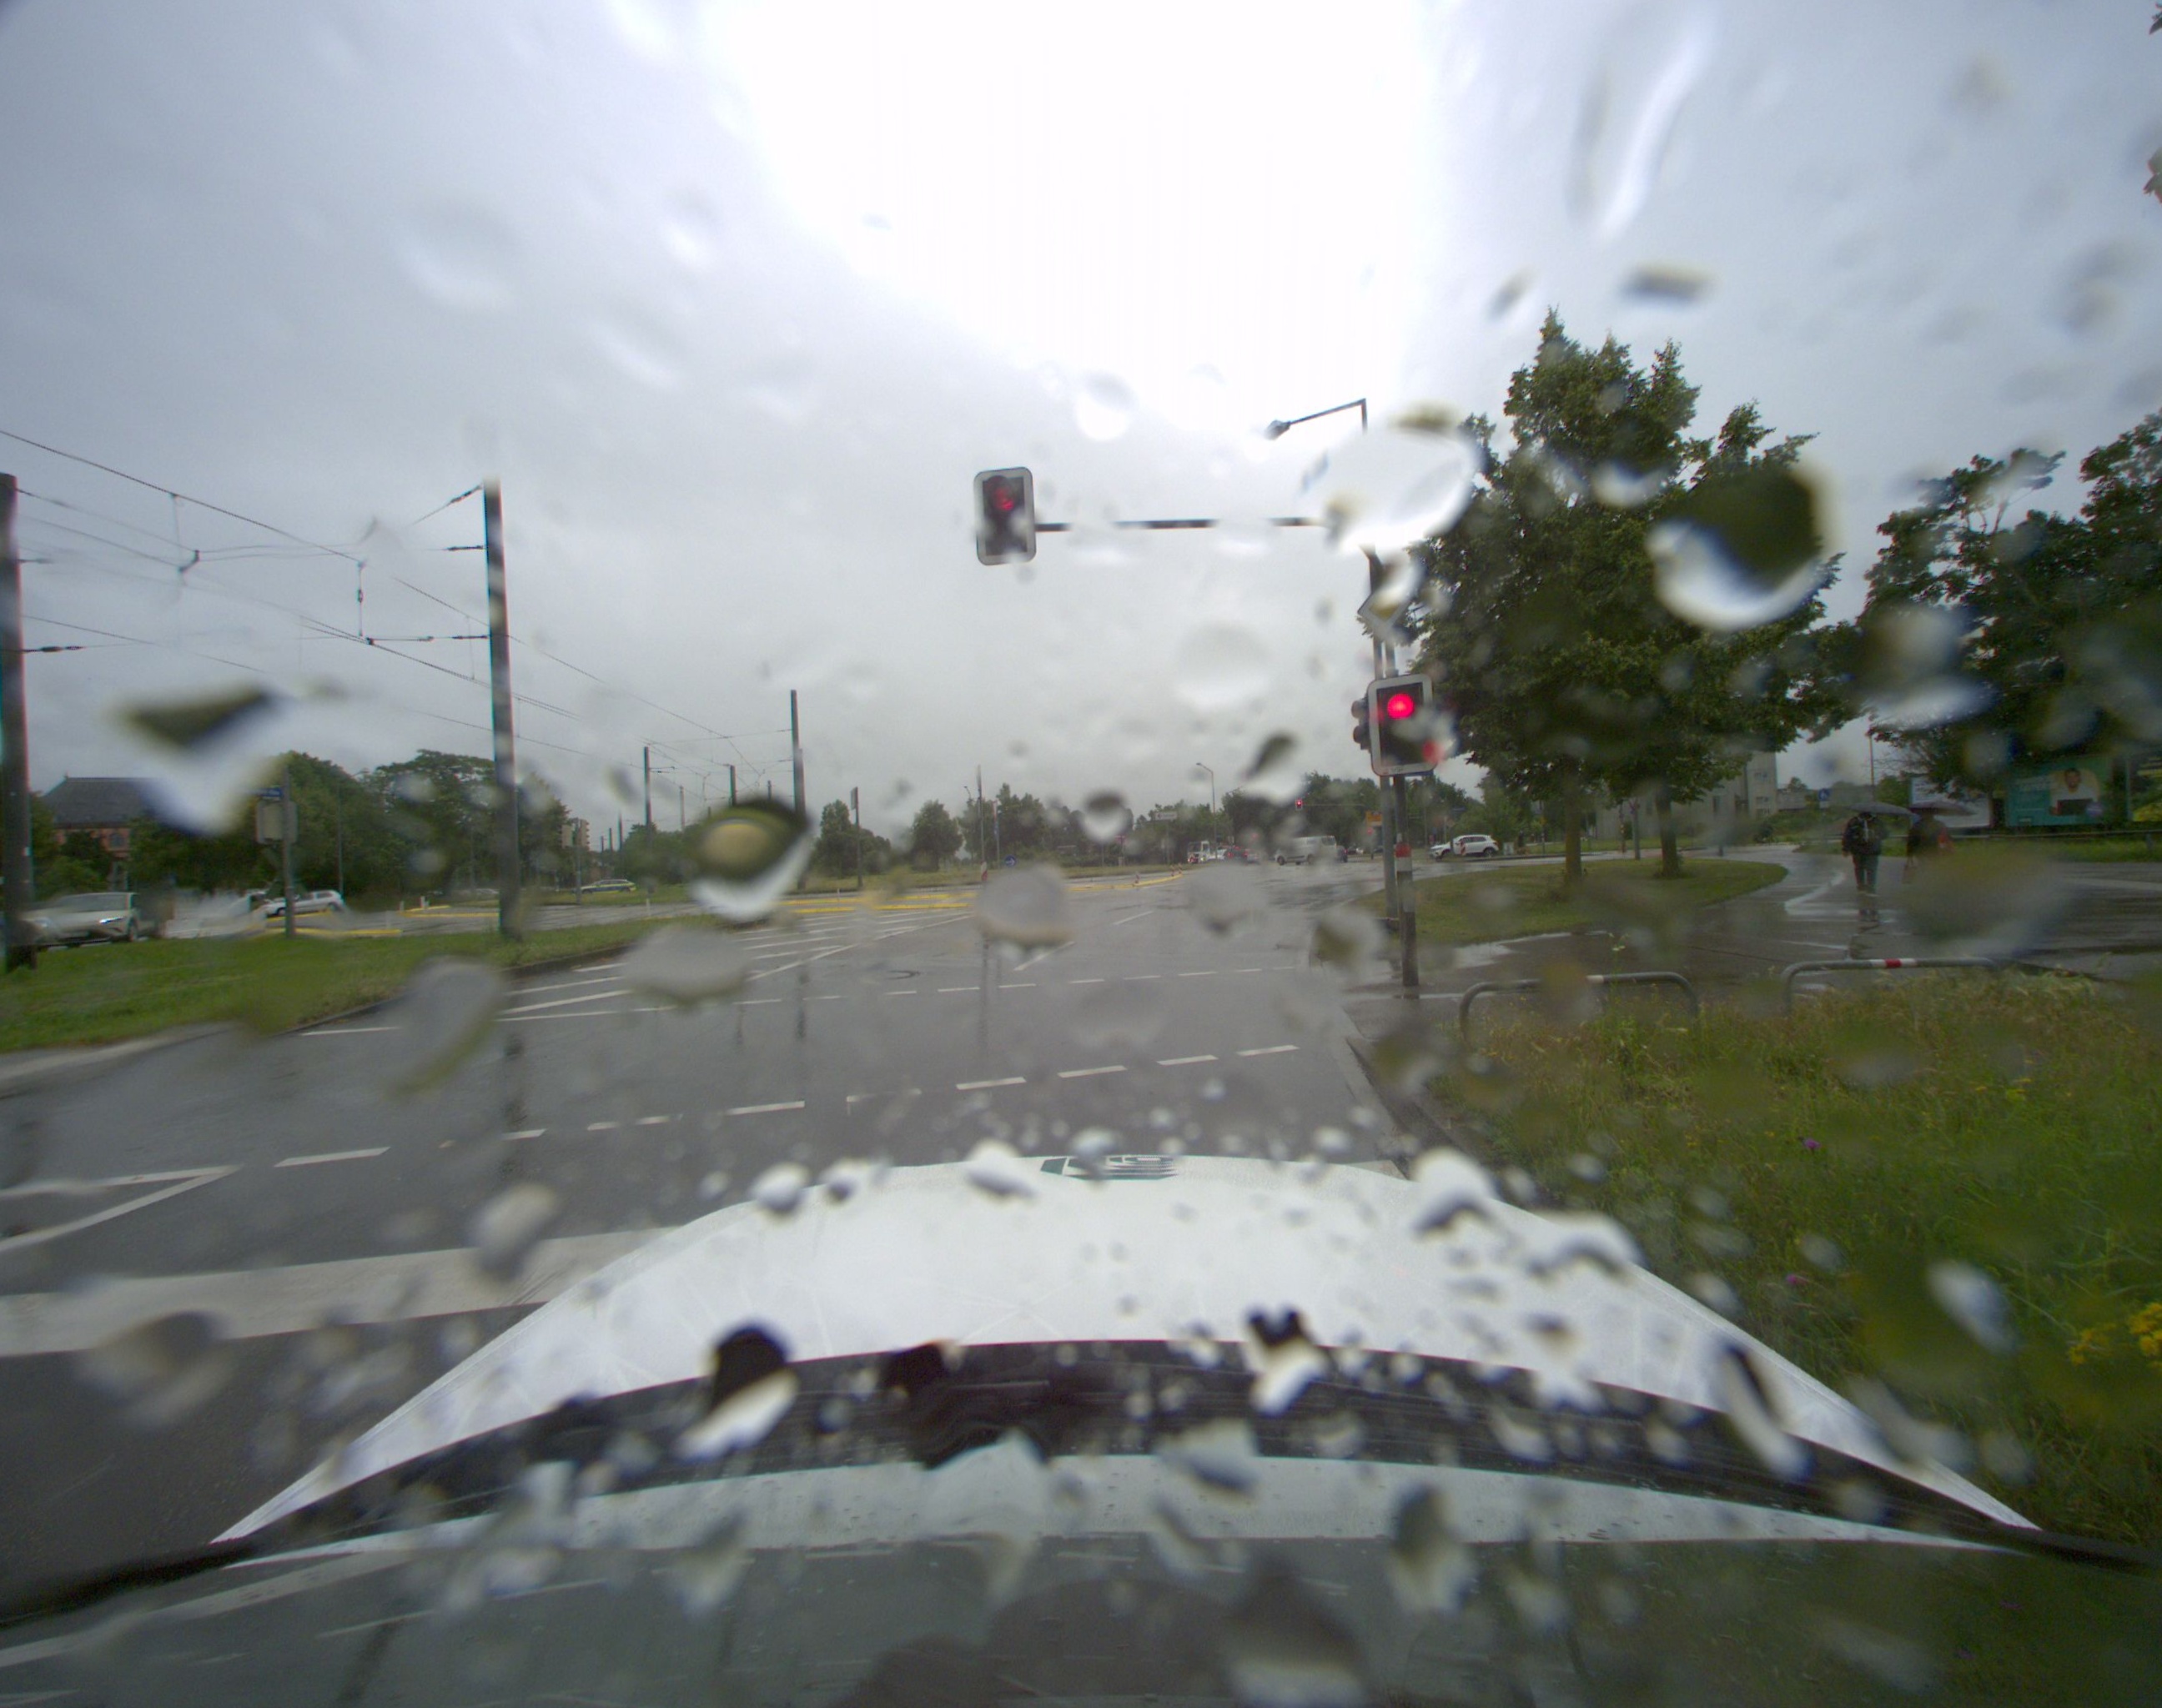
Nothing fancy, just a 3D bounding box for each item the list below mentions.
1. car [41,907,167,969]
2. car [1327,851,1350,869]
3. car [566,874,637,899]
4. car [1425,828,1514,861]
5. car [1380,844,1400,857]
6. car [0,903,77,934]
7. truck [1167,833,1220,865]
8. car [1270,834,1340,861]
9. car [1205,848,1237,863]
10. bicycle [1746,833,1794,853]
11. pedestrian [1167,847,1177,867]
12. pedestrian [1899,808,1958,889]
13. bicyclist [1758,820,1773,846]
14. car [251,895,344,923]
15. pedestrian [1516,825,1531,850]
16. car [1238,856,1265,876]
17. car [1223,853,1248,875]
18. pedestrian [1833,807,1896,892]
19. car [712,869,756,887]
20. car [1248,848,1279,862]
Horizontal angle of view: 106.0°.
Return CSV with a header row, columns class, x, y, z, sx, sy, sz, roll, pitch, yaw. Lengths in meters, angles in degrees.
class,x,y,z,sx,sy,sz,roll,pitch,yaw
car,-28.090,2.351,23.548,1.632,1.454,4.064,-2,0,-41
car,22.335,0.500,70.727,1.606,1.454,4.003,-2,0,14
car,-40.537,2.732,68.927,1.974,1.851,4.806,-3,0,40
car,24.767,-0.589,52.081,4.731,1.851,2.005,-3,0,9
car,51.891,-0.540,136.799,1.974,2.014,4.025,-1,-1,39
car,-56.768,3.463,43.244,1.604,1.454,4.009,-2,0,22
truck,10.335,-0.403,74.055,2.439,2.686,8.105,-1,-1,25
car,16.268,-0.450,59.234,2.008,1.851,4.724,0,-1,-35
car,16.500,0.171,96.000,1.779,1.662,4.159,-1,-1,43
bicycle,46.734,-0.715,55.273,2.485,1.314,0.573,-1,-1,12
pedestrian,6.072,0.230,54.341,0.448,1.304,0.489,-3,-1,40
pedestrian,15.865,-0.099,15.247,0.685,1.461,0.567,-3,-2,-34
bicyclist,46.534,-1.419,55.336,0.585,1.742,0.498,-1,-1,13
car,-50.306,3.500,52.368,1.602,1.454,4.013,-3,0,31
pedestrian,33.366,-1.222,61.436,0.811,1.868,0.670,0,-1,9
car,16.155,1.139,76.921,1.978,1.851,4.797,-1,-1,17
car,13.565,0.894,71.243,1.980,1.851,4.791,-1,-1,12
pedestrian,14.548,-0.079,15.122,0.625,1.522,0.733,0,-1,-36
car,-36.866,2.517,86.623,1.660,1.816,4.025,-1,-1,31
car,21.833,0.169,97.470,1.779,1.662,4.024,-1,-1,43
